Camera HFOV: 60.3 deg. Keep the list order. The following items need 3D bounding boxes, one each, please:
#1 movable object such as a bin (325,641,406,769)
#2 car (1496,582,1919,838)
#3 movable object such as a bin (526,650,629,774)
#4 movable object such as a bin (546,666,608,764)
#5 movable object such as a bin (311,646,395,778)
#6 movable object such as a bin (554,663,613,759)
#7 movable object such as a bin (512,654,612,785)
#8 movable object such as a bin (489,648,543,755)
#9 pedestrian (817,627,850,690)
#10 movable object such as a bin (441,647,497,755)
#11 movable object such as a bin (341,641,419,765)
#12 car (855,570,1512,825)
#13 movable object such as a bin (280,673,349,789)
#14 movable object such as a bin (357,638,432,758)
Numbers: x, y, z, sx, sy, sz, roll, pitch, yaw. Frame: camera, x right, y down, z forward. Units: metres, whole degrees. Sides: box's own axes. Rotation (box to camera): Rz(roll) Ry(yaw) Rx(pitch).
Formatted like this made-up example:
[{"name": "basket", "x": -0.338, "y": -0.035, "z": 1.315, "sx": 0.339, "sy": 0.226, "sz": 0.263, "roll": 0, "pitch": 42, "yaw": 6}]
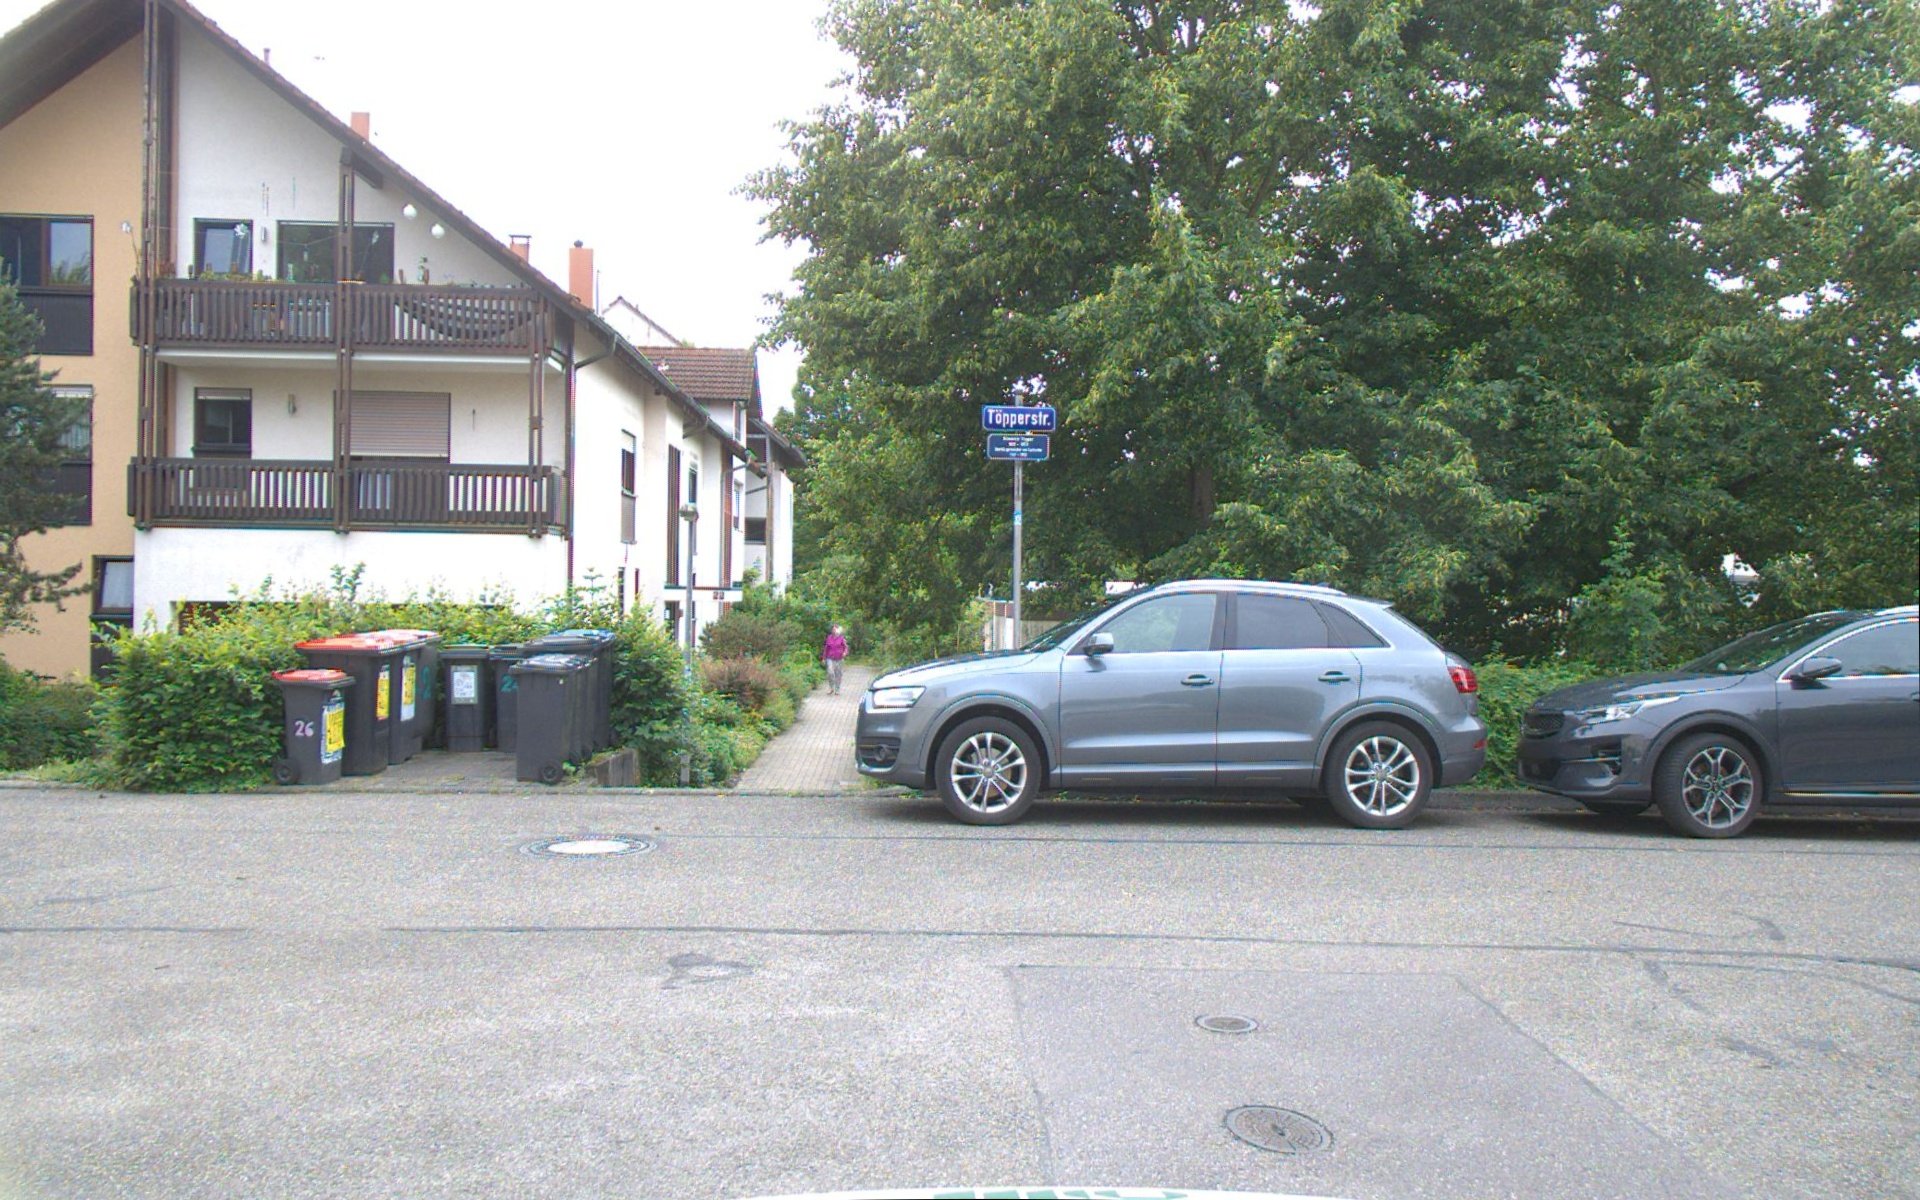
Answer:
[{"name": "movable object such as a bin", "x": -4.866, "y": 0.856, "z": 13.559, "sx": 0.526, "sy": 1.011, "sz": 0.337, "roll": 1, "pitch": 0, "yaw": -5}, {"name": "car", "x": 5.917, "y": 0.711, "z": 11.099, "sx": 4.094, "sy": 1.558, "sz": 1.748, "roll": 1, "pitch": -2, "yaw": 2}, {"name": "movable object such as a bin", "x": -3.179, "y": 0.925, "z": 13.797, "sx": 0.719, "sy": 0.970, "sz": 0.584, "roll": 2, "pitch": 0, "yaw": -3}, {"name": "movable object such as a bin", "x": -3.319, "y": 0.988, "z": 14.335, "sx": 0.450, "sy": 0.811, "sz": 0.379, "roll": 1, "pitch": 0, "yaw": -5}, {"name": "movable object such as a bin", "x": -4.836, "y": 0.884, "z": 13.190, "sx": 0.526, "sy": 1.011, "sz": 0.379, "roll": 1, "pitch": 0, "yaw": -5}, {"name": "movable object such as a bin", "x": -3.353, "y": 0.985, "z": 14.747, "sx": 0.450, "sy": 0.811, "sz": 0.379, "roll": 1, "pitch": 0, "yaw": -5}, {"name": "movable object such as a bin", "x": -3.137, "y": 0.932, "z": 13.080, "sx": 0.625, "sy": 0.970, "sz": 0.722, "roll": 2, "pitch": 0, "yaw": -3}, {"name": "movable object such as a bin", "x": -3.917, "y": 0.890, "z": 14.609, "sx": 0.378, "sy": 0.905, "sz": 0.379, "roll": 1, "pitch": 0, "yaw": -5}, {"name": "pedestrian", "x": -3.135, "y": 1.456, "z": 41.047, "sx": 0.799, "sy": 1.544, "sz": 0.438, "roll": 0, "pitch": -1, "yaw": -5}, {"name": "movable object such as a bin", "x": -4.320, "y": 0.887, "z": 14.574, "sx": 0.378, "sy": 0.917, "sz": 0.379, "roll": 1, "pitch": 0, "yaw": -5}, {"name": "movable object such as a bin", "x": -4.880, "y": 0.861, "z": 13.920, "sx": 0.526, "sy": 1.011, "sz": 0.337, "roll": 1, "pitch": 0, "yaw": -5}, {"name": "car", "x": 1.394, "y": 0.643, "z": 11.271, "sx": 4.152, "sy": 1.558, "sz": 1.746, "roll": 1, "pitch": -2, "yaw": -3}, {"name": "movable object such as a bin", "x": -4.970, "y": 1.004, "z": 12.743, "sx": 0.378, "sy": 0.851, "sz": 0.379, "roll": 1, "pitch": 0, "yaw": -5}, {"name": "movable object such as a bin", "x": -4.909, "y": 0.849, "z": 14.374, "sx": 0.526, "sy": 1.011, "sz": 0.337, "roll": 1, "pitch": 0, "yaw": -5}]
